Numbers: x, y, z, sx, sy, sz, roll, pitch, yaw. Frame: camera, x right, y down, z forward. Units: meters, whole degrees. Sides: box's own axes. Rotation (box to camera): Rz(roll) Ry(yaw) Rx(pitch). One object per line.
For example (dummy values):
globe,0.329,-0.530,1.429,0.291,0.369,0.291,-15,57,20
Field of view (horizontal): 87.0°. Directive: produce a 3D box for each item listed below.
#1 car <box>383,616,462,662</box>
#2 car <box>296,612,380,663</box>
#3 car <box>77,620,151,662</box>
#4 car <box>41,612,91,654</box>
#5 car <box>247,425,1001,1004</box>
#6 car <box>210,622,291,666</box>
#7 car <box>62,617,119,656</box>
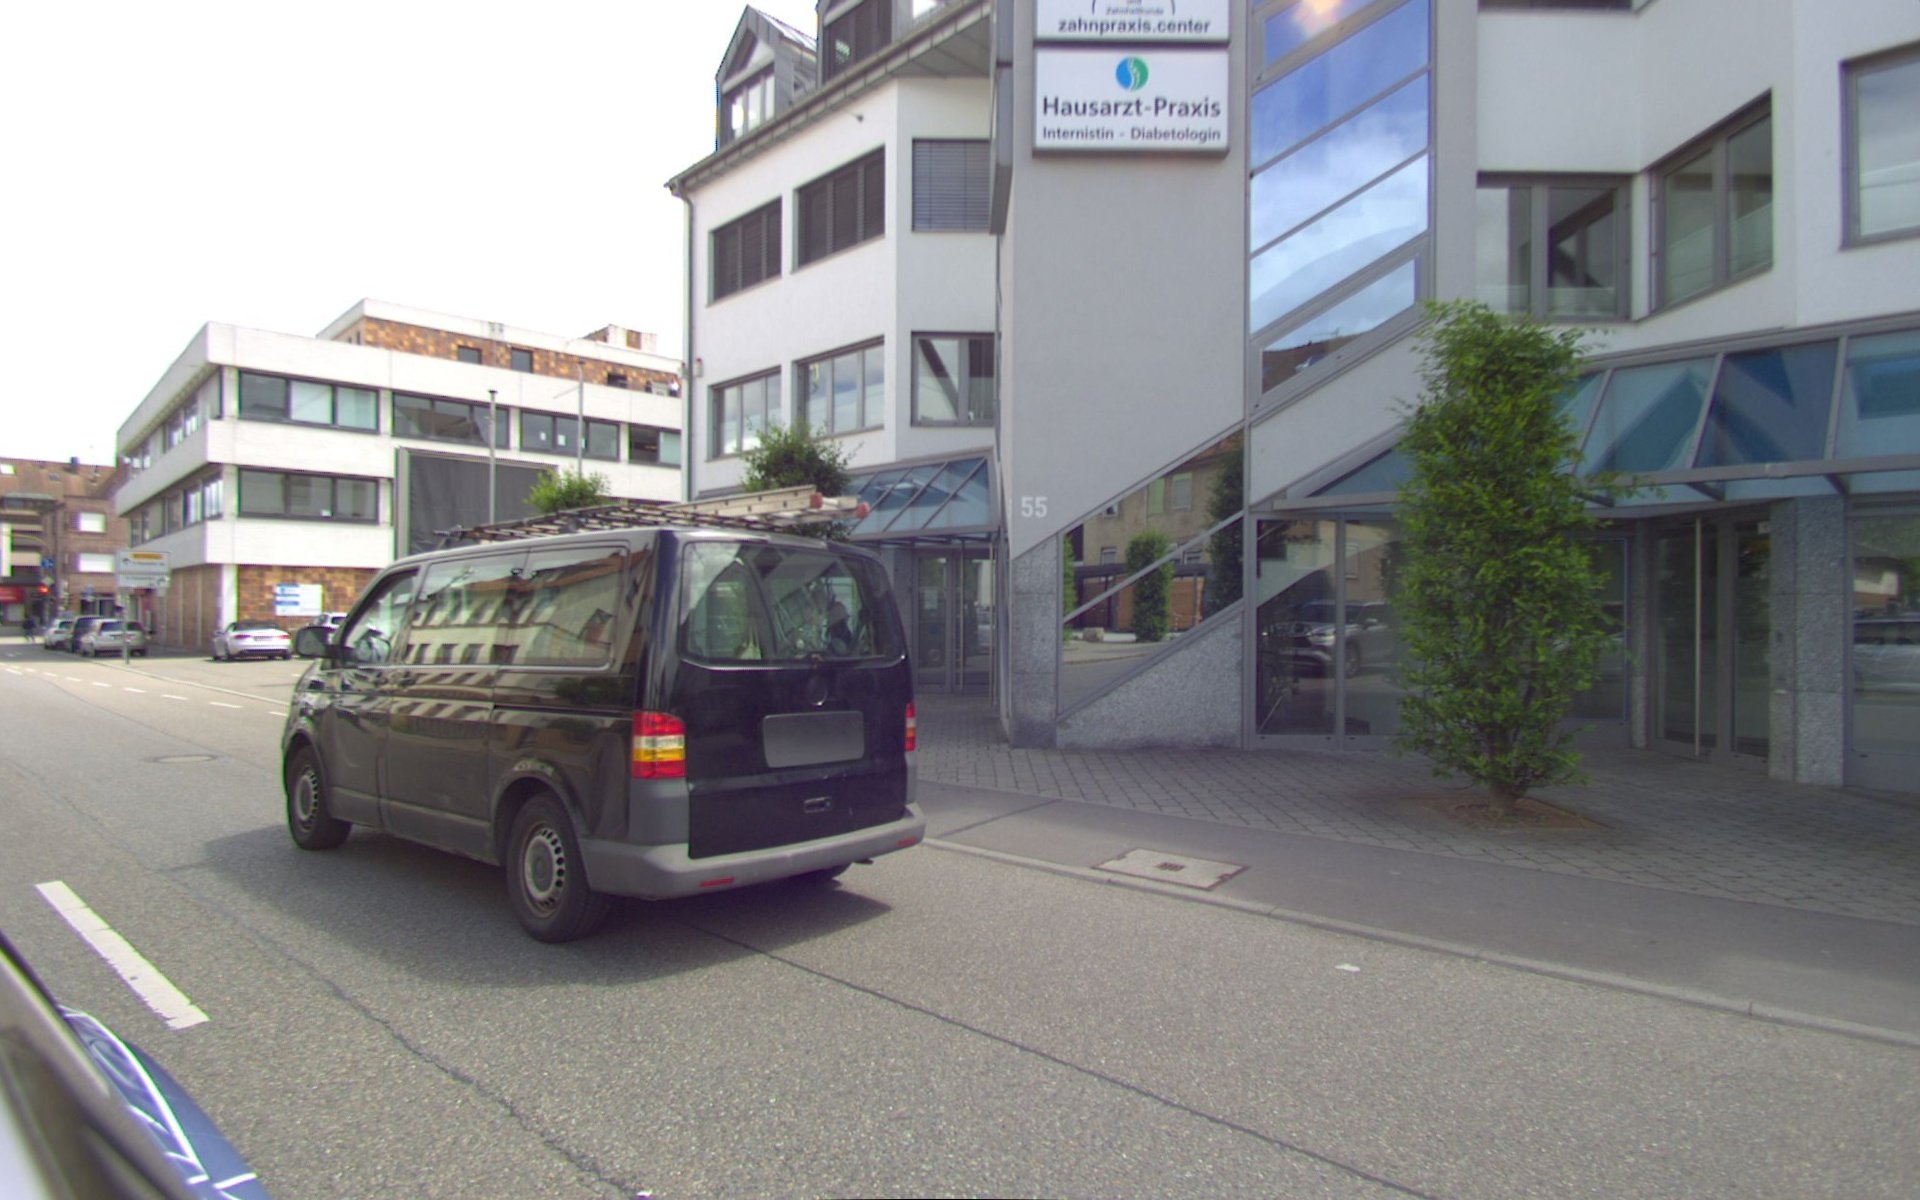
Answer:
car,-20.590,1.431,38.684,3.844,1.620,1.625,0,0,45
car,-22.444,1.328,36.457,1.870,1.710,3.805,3,-3,-42
car,-32.802,1.539,39.211,4.220,1.437,1.815,0,0,44
car,-41.616,1.492,47.087,1.677,1.790,4.466,0,0,-42
car,-2.315,0.482,6.175,4.878,2.168,2.090,-1,-2,40
car,-24.511,1.478,34.893,1.798,1.338,4.241,0,0,-42
car,-37.744,1.546,43.905,1.783,1.541,4.005,0,0,-42
